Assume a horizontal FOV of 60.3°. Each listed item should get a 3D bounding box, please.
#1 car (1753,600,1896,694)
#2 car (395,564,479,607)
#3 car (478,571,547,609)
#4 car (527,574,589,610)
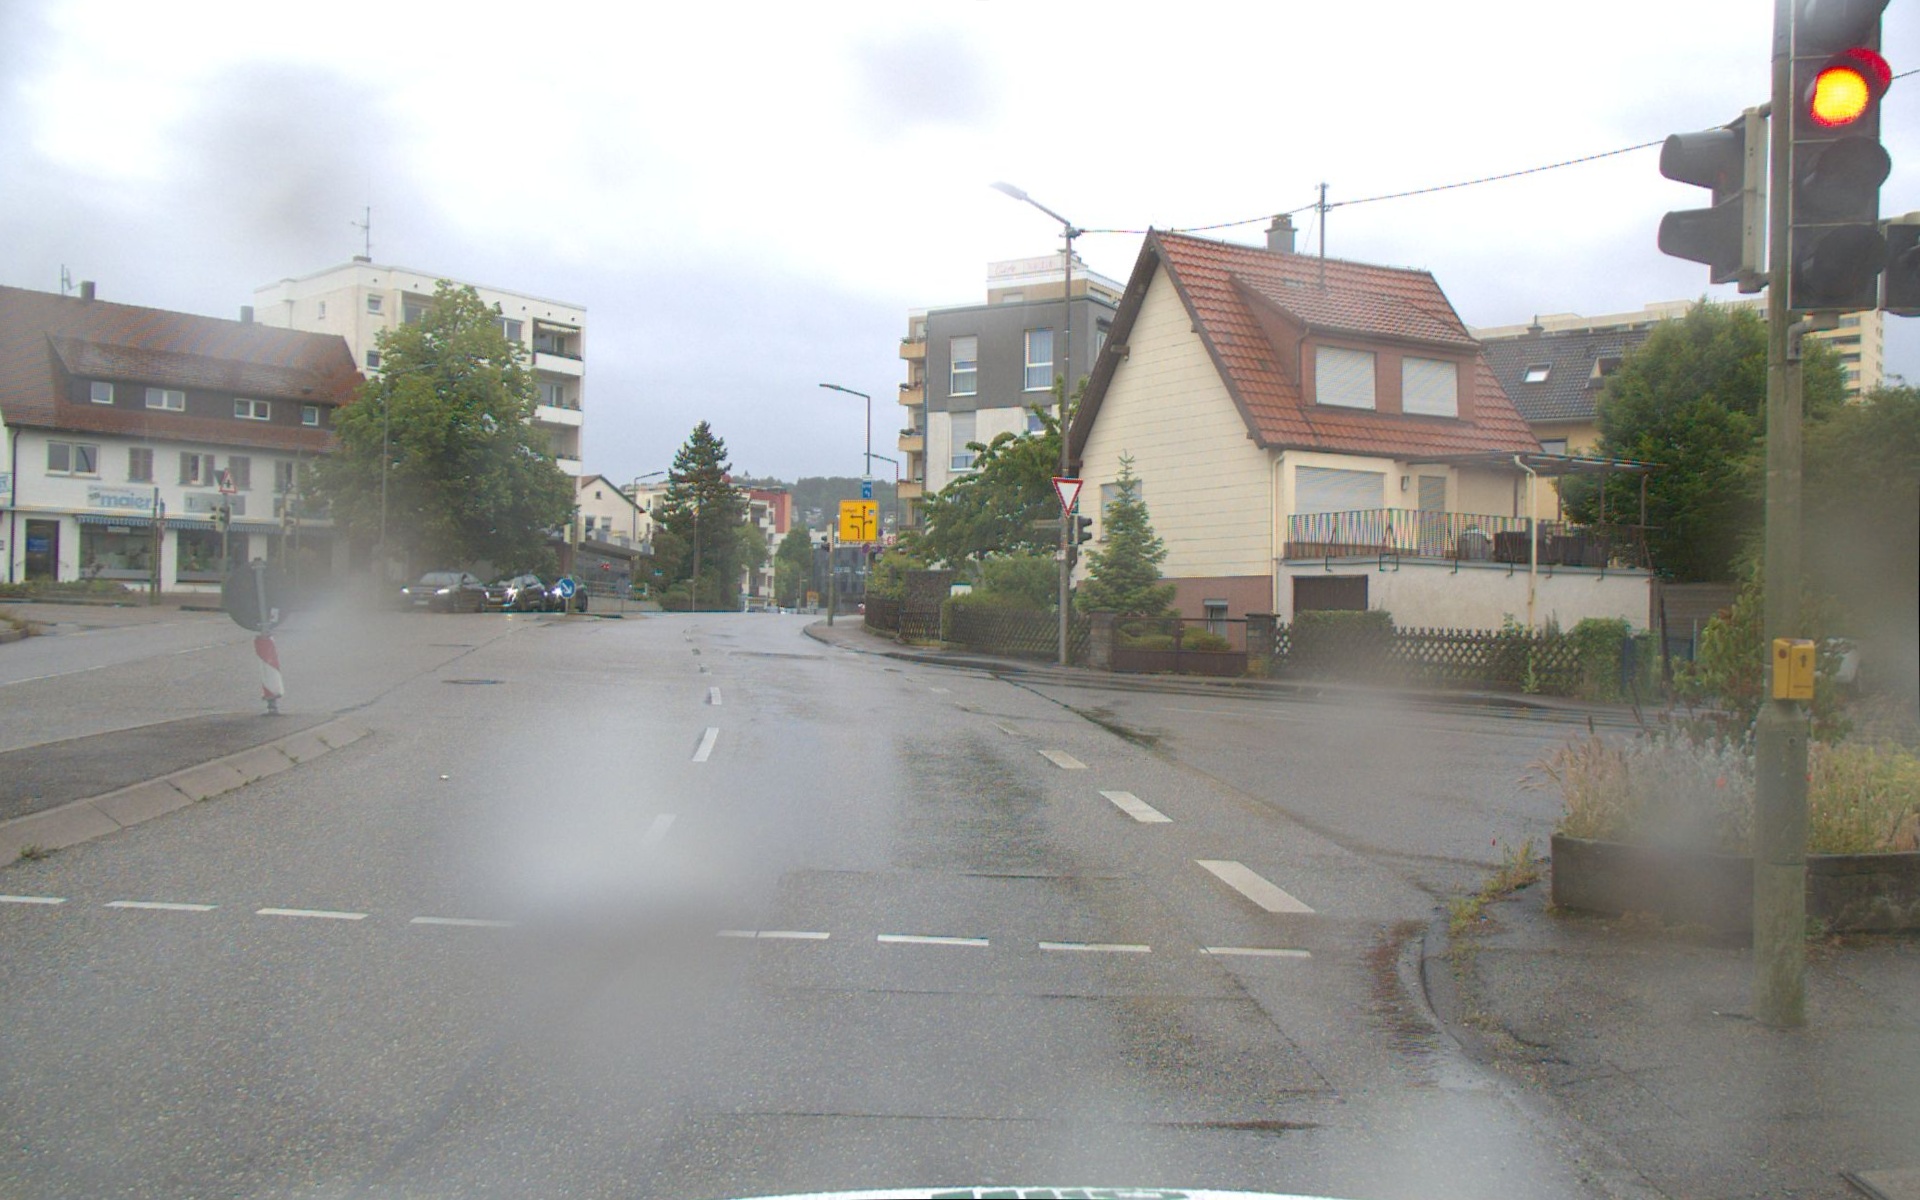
[{"bbox_3d":[15.613,0.789,29.791,1.710,1.541,3.985,1,1,36],"label":"car"},{"bbox_3d":[-18.260,-0.510,57.907,1.742,1.445,3.830,1,1,-1],"label":"car"},{"bbox_3d":[-17.622,-0.398,65.284,1.680,1.411,4.020,1,1,-1],"label":"car"},{"bbox_3d":[-17.271,-0.351,71.142,1.742,1.445,3.830,1,1,-1],"label":"car"}]
